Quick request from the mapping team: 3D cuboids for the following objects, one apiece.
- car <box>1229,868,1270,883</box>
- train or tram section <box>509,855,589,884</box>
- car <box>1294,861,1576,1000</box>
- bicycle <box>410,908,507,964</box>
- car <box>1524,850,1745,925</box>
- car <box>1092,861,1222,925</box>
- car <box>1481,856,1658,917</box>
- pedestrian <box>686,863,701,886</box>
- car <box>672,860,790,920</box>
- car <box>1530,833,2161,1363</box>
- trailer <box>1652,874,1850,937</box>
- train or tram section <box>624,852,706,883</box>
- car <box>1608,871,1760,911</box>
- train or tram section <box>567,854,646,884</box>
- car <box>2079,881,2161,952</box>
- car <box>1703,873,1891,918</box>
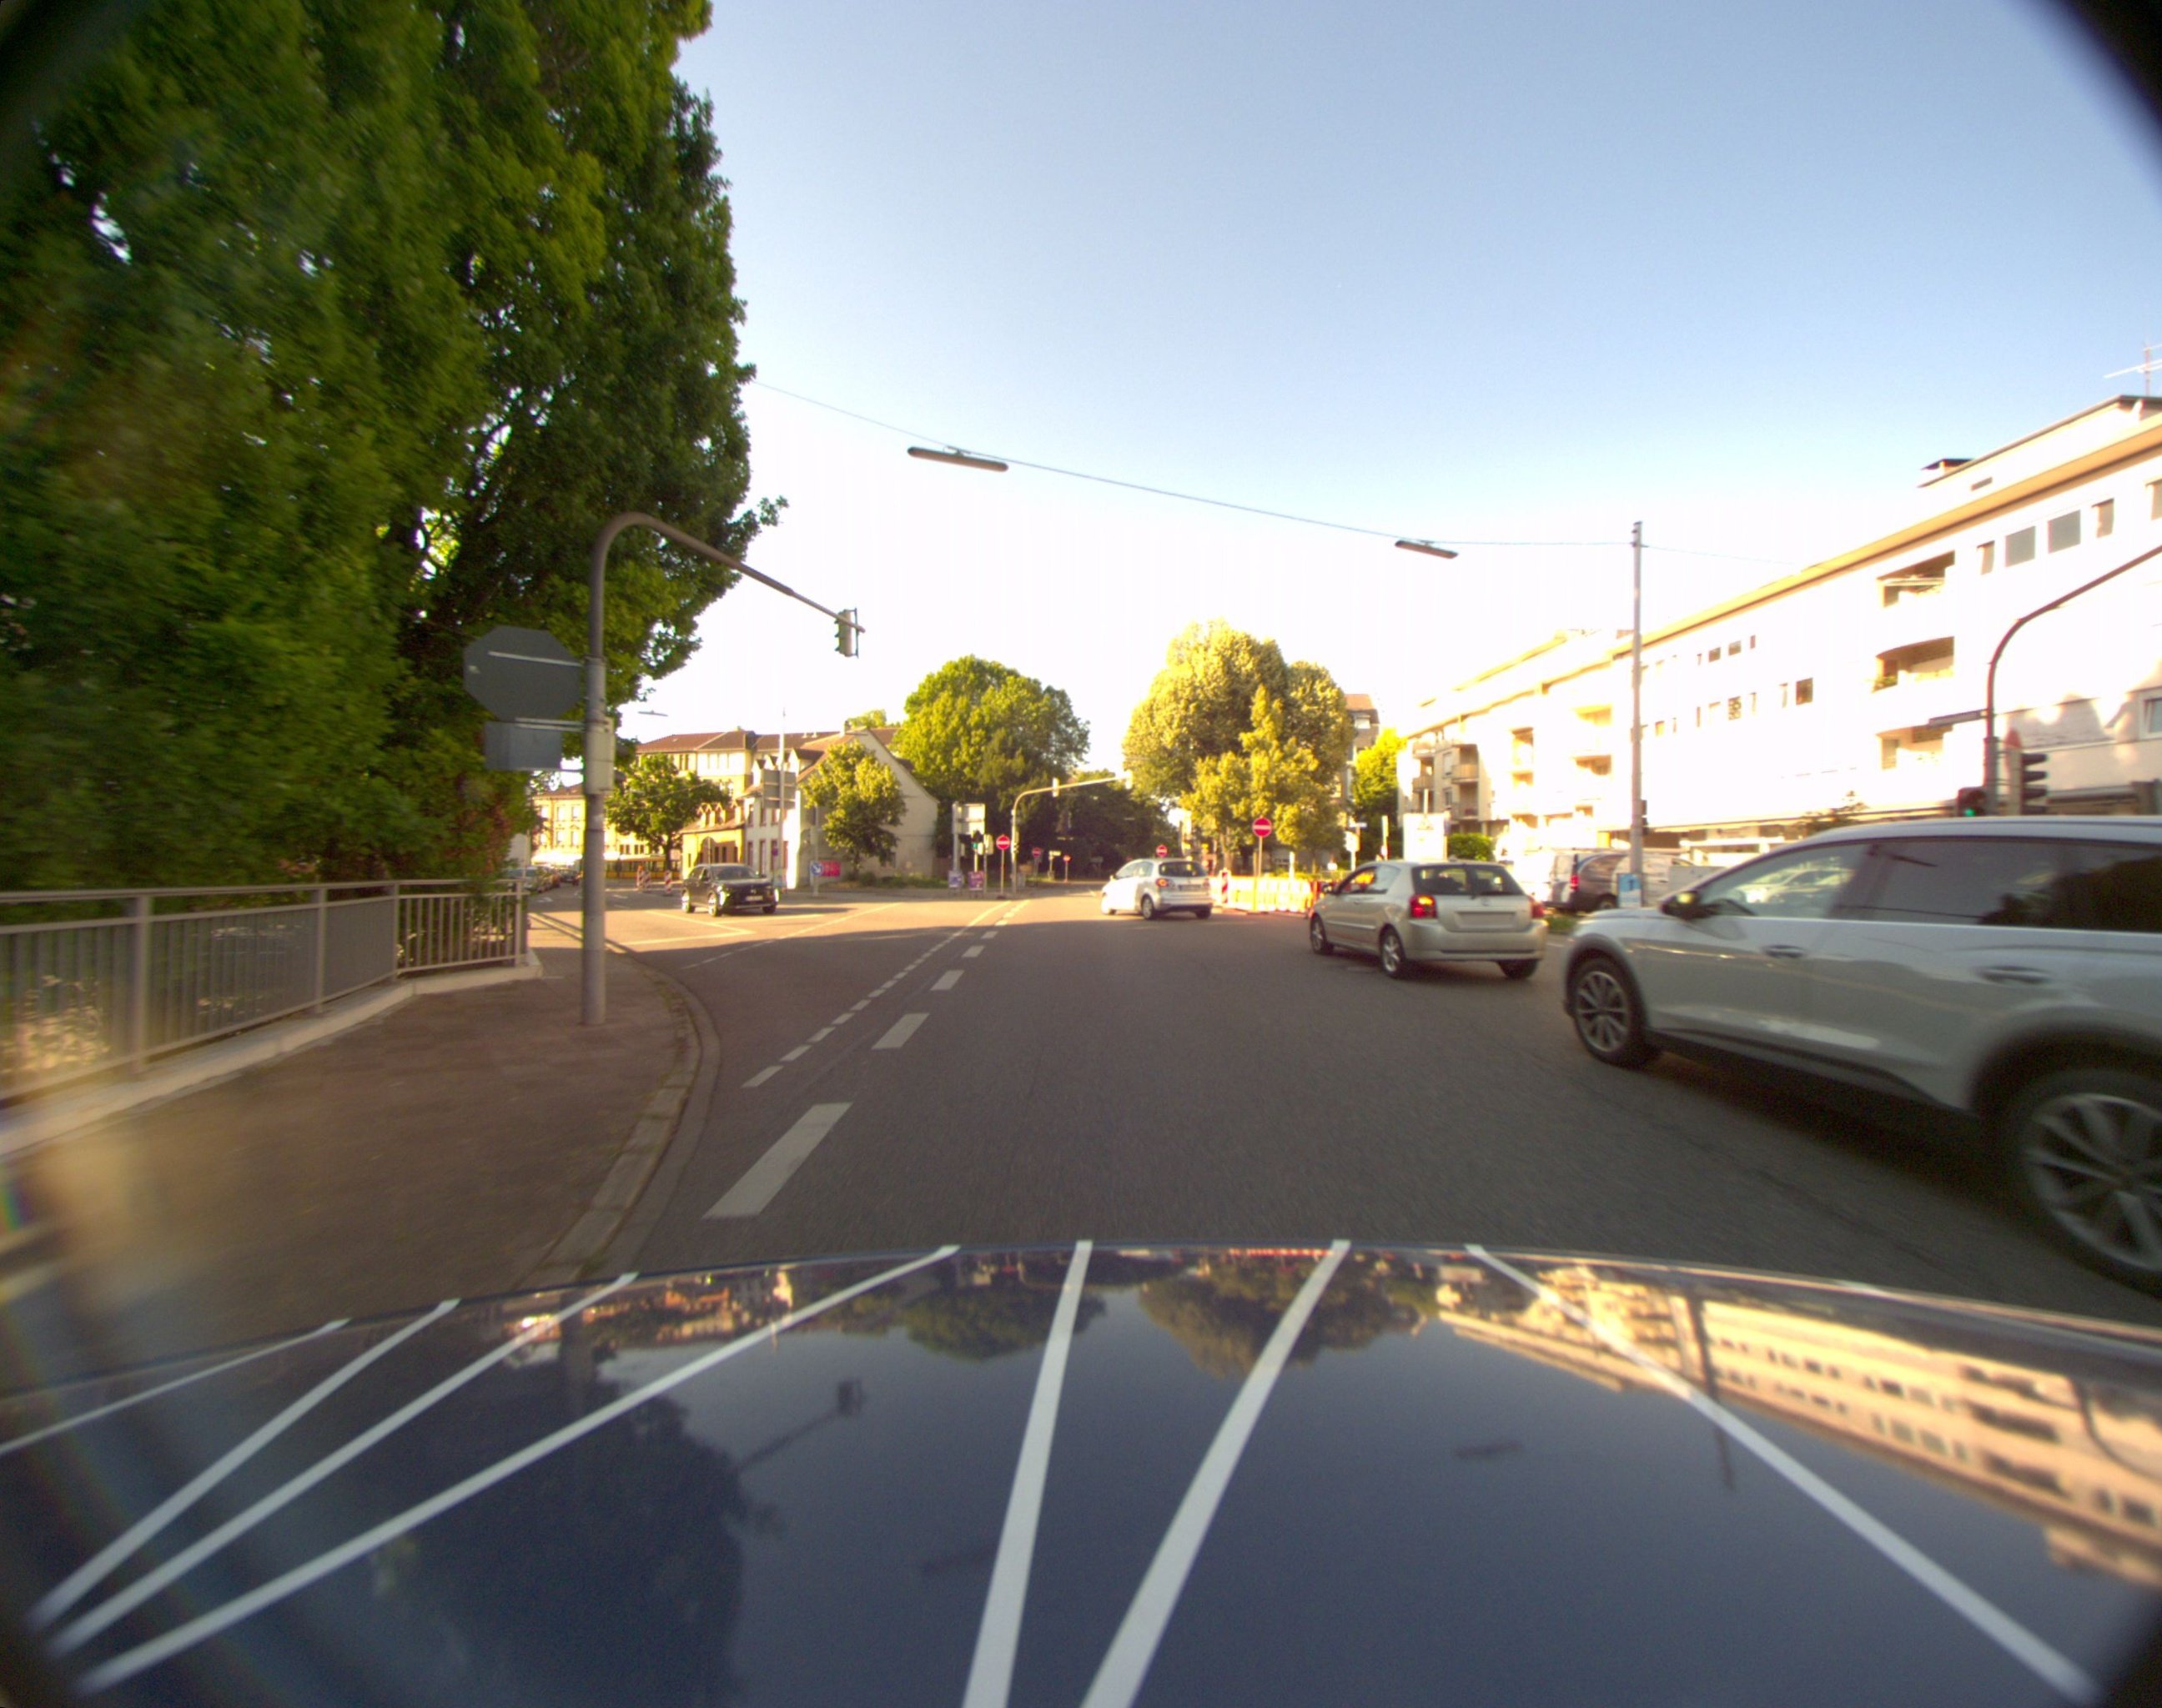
[{"bbox_3d":[17.845,2.246,80.558,3.996,1.542,2.001,1,-1,3],"label":"car"},{"bbox_3d":[-66.319,1.960,94.709,9.844,3.579,2.853,-1,-1,19],"label":"train or tram section"},{"bbox_3d":[4.395,0.866,10.233,1.780,1.471,4.096,-1,-1,-2],"label":"car"},{"bbox_3d":[-10.981,1.428,13.444,1.291,0.898,0.409,0,-1,-32],"label":"bicycle"},{"bbox_3d":[15.423,0.912,21.372,4.679,1.953,2.117,-1,-1,-1],"label":"car"},{"bbox_3d":[1.914,0.987,20.473,1.783,1.533,3.993,0,-1,-23],"label":"car"},{"bbox_3d":[15.458,1.033,24.264,4.323,1.840,2.001,-1,-1,4],"label":"car"},{"bbox_3d":[-31.829,1.686,62.382,0.959,1.826,1.286,0,-1,-36],"label":"pedestrian"},{"bbox_3d":[-11.445,1.081,24.673,2.004,1.660,4.650,-3,2,-44],"label":"car"},{"bbox_3d":[4.286,0.775,3.611,1.779,1.638,4.536,-1,-1,3],"label":"car"},{"bbox_3d":[15.664,1.177,17.872,3.262,1.388,1.574,-1,-1,-1],"label":"trailer"},{"bbox_3d":[-48.689,1.622,88.933,9.248,3.498,2.803,-1,-1,19],"label":"train or tram section"},{"bbox_3d":[23.606,1.440,29.882,4.323,1.501,2.001,-1,-1,3],"label":"car"},{"bbox_3d":[-57.328,1.802,91.758,9.248,3.498,2.802,-1,-1,18],"label":"train or tram section"},{"bbox_3d":[23.920,1.265,15.479,4.323,1.390,2.001,-1,-1,3],"label":"car"},{"bbox_3d":[23.969,1.376,25.597,4.323,1.390,2.001,-1,-1,3],"label":"car"}]
